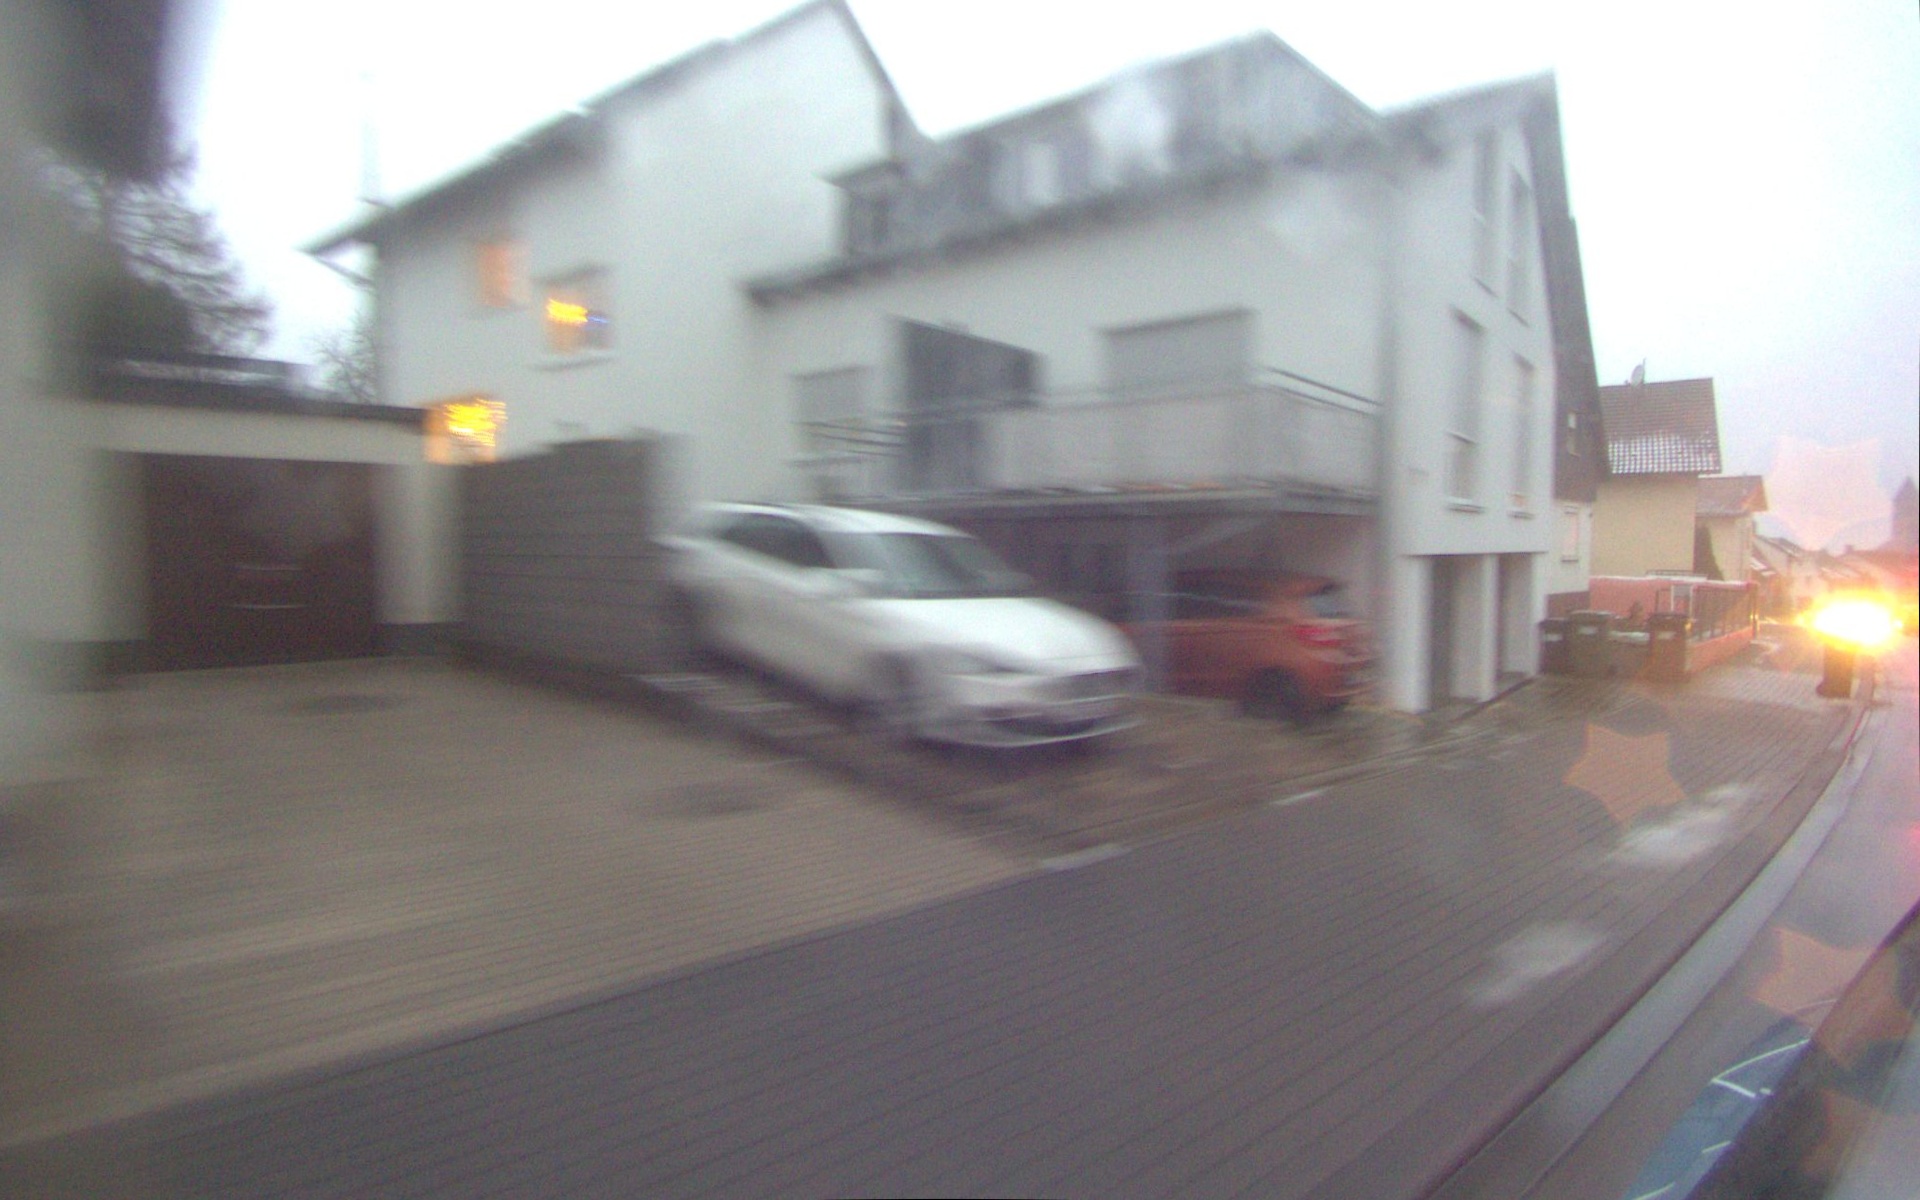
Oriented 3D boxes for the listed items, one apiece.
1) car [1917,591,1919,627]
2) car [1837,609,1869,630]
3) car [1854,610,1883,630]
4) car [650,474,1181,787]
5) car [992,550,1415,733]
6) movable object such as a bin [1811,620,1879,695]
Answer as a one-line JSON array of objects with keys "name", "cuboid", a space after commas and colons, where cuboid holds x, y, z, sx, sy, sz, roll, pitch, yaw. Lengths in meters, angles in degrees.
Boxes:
[{"name": "car", "cuboid": [40.721, 0.426, 41.354, 1.770, 1.514, 4.322, 4, 2, 36]}, {"name": "car", "cuboid": [72.311, 1.553, 81.929, 1.753, 1.514, 4.182, 4, 2, 44]}, {"name": "car", "cuboid": [86.931, 1.922, 96.838, 1.791, 1.796, 3.826, 4, 2, 44]}, {"name": "car", "cuboid": [-0.618, -0.008, 8.055, 1.750, 1.472, 4.291, -1, 10, -44]}, {"name": "car", "cuboid": [2.428, 0.291, 10.666, 3.984, 1.475, 1.666, 4, 3, 40]}, {"name": "movable object such as a bin", "cuboid": [12.740, 0.817, 14.572, 0.585, 0.957, 0.615, -2, 6, -44]}]
